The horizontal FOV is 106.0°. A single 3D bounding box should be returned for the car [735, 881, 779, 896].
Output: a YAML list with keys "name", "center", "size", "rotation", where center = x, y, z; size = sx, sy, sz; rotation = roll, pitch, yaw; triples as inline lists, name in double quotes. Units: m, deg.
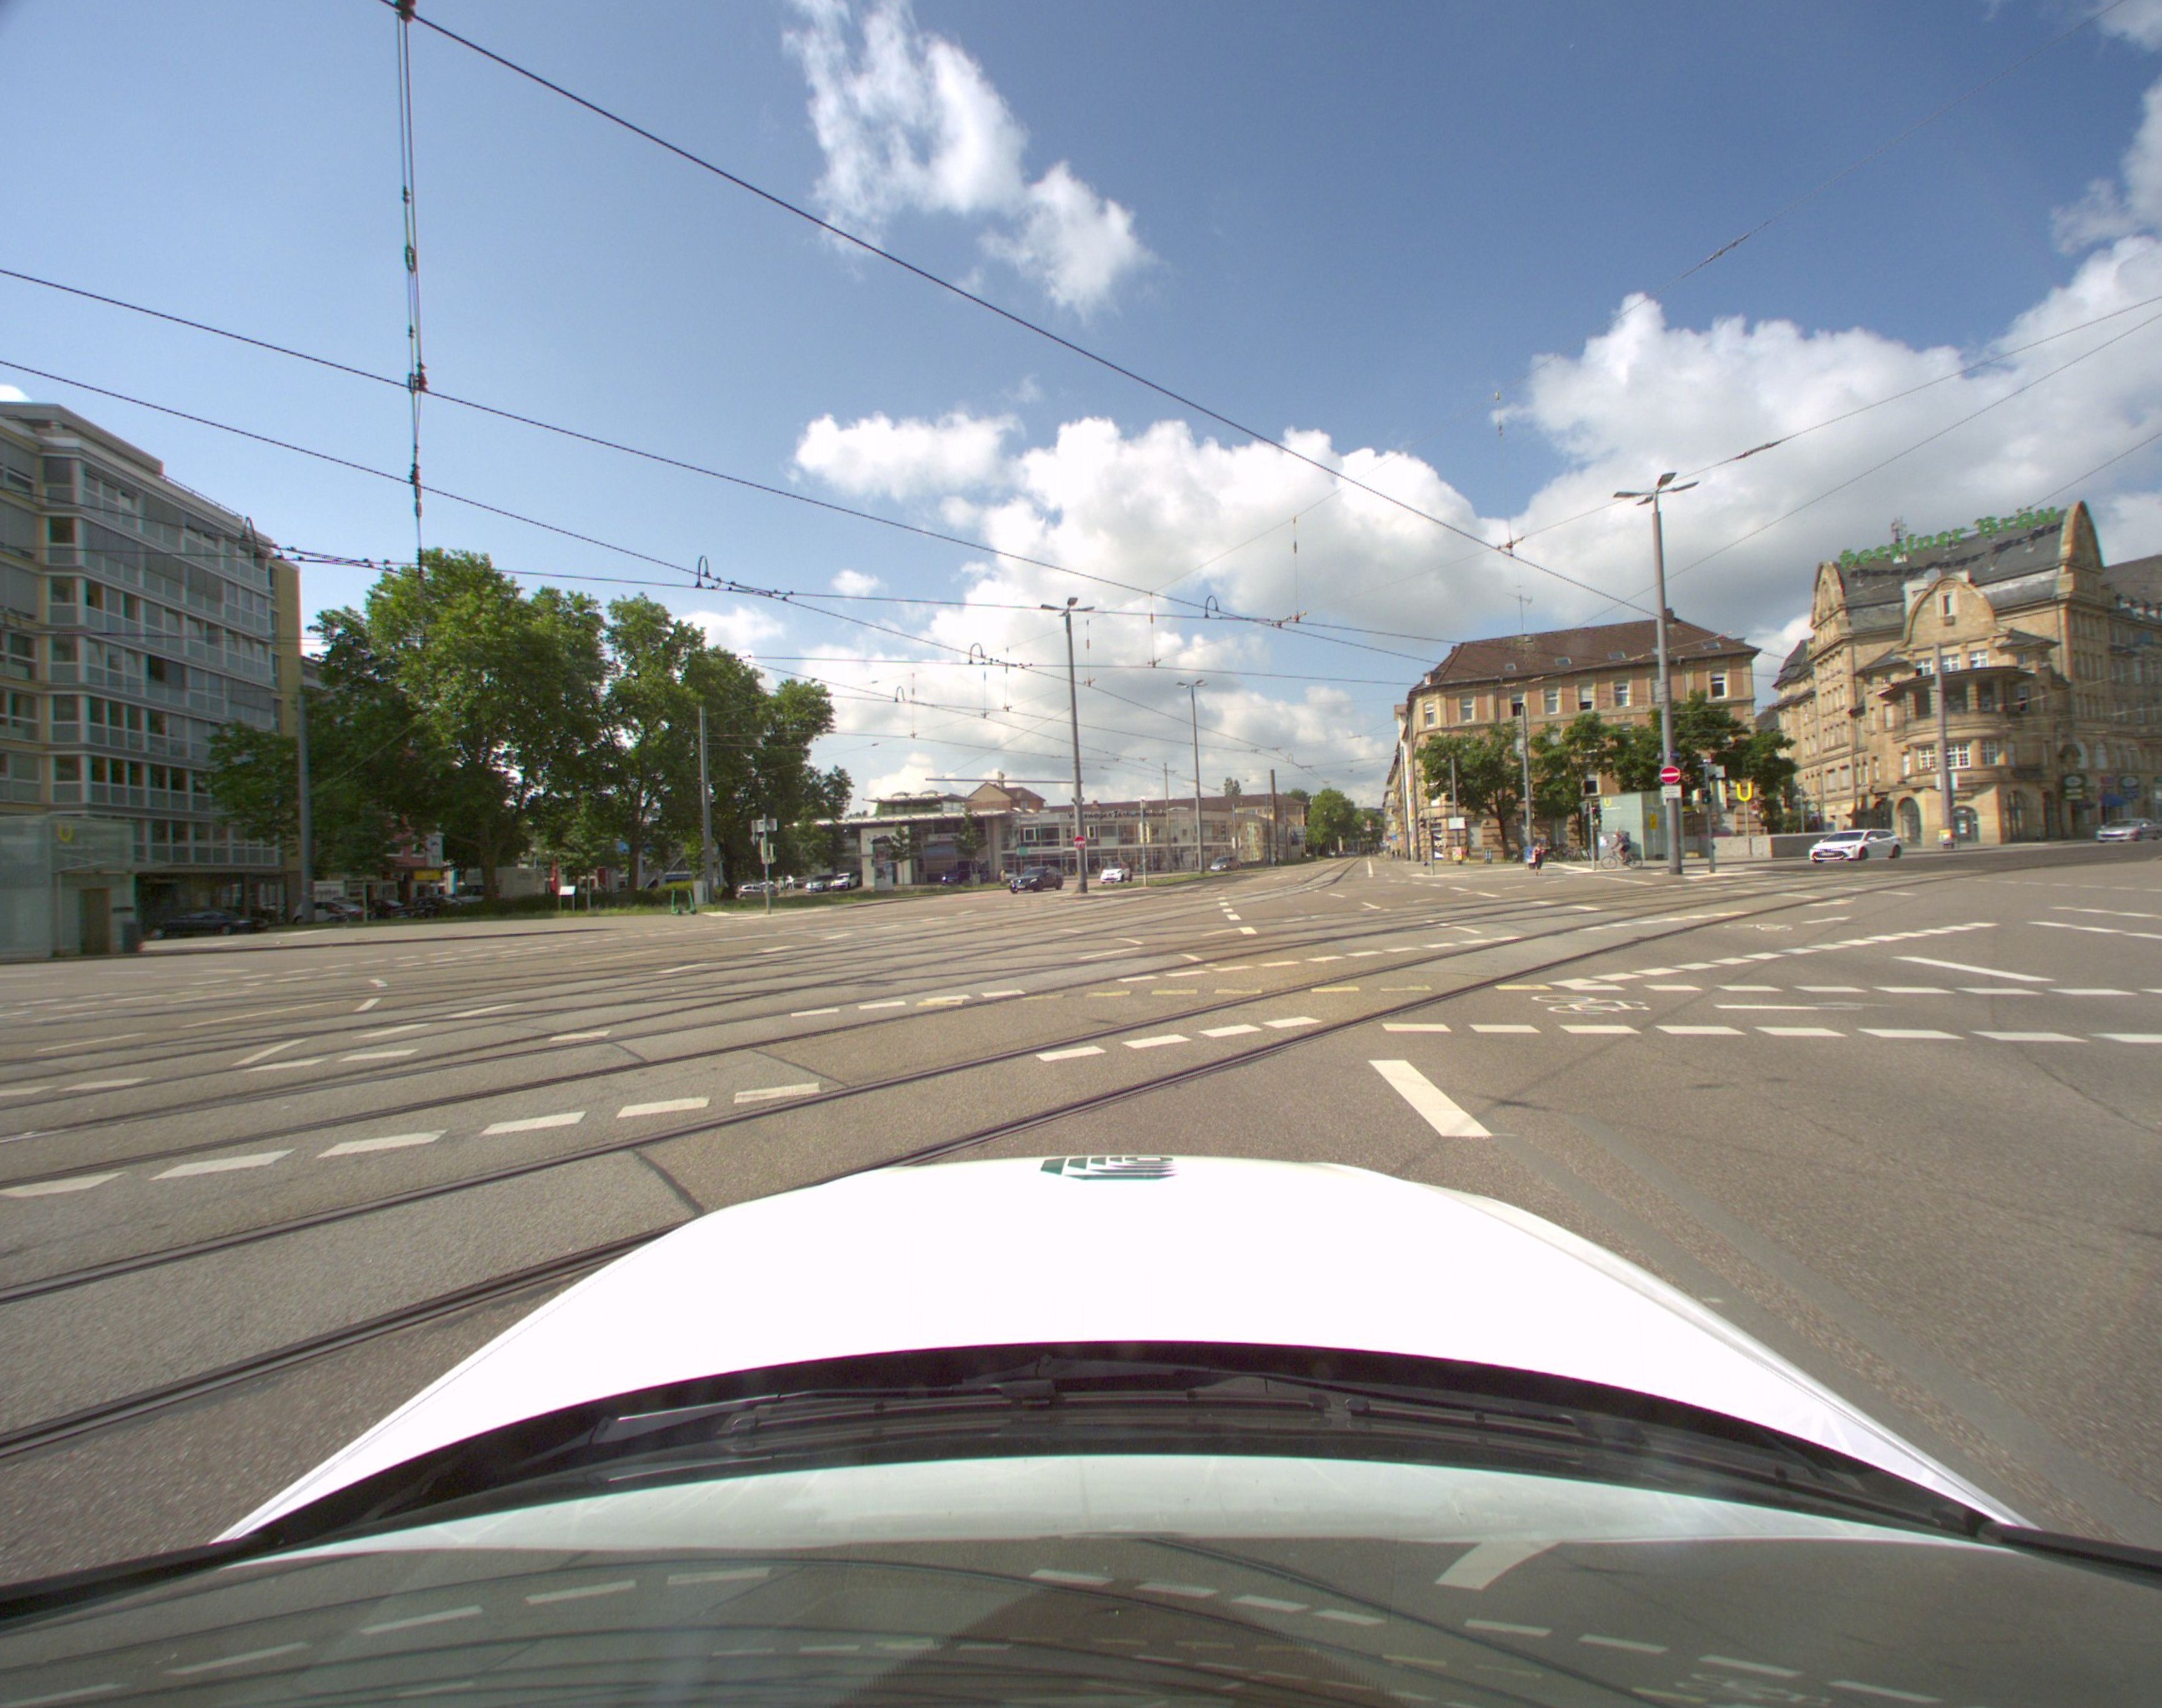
- name: "car"
  center: [-31.952, 3.408, 80.431]
  size: [3.653, 1.488, 1.675]
  rotation: [0, -1, 4]

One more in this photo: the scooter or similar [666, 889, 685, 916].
- name: "scooter or similar"
  center: [-18.256, 2.179, 36.684]
  size: [1.051, 1.197, 0.384]
  rotation: [-2, -2, 41]

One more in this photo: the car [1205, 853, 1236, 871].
- name: "car"
  center: [13.531, 0.731, 78.734]
  size: [1.975, 1.574, 3.758]
  rotation: [-3, -1, 25]

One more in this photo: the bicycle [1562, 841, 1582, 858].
- name: "bicycle"
  center: [35.361, -0.303, 58.679]
  size: [0.752, 1.166, 2.699]
  rotation: [-3, -1, 21]

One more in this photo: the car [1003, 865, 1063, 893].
- name: "car"
  center: [-2.727, 1.427, 47.251]
  size: [1.848, 1.376, 3.962]
  rotation: [-3, -1, 23]

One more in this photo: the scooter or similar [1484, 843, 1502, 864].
- name: "scooter or similar"
  center: [30.529, -0.060, 60.339]
  size: [0.870, 1.482, 2.024]
  rotation: [-3, -1, 20]

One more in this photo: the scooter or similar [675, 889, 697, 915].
- name: "scooter or similar"
  center: [-18.040, 2.186, 37.143]
  size: [1.051, 1.197, 0.384]
  rotation: [-2, -2, 31]

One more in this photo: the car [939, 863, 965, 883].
- name: "car"
  center: [-13.346, 1.982, 84.361]
  size: [1.987, 1.838, 3.999]
  rotation: [-3, -1, 0]

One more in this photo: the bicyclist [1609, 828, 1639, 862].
- name: "bicyclist"
  center: [27.685, -0.450, 41.524]
  size: [1.134, 1.675, 0.619]
  rotation: [-2, -2, 27]

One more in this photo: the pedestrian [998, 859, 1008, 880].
- name: "pedestrian"
  center: [-7.602, 1.530, 79.601]
  size: [0.804, 2.014, 0.809]
  rotation: [-3, -1, 3]

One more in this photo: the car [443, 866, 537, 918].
- name: "car"
  center: [-38.143, 2.403, 52.886]
  size: [1.995, 3.043, 7.220]
  rotation: [-3, -1, -11]

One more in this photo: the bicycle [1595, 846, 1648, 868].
- name: "bicycle"
  center: [27.576, 0.148, 41.562]
  size: [2.169, 1.070, 0.883]
  rotation: [-2, -2, 30]

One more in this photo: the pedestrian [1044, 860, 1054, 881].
- name: "pedestrian"
  center: [-3.226, 1.674, 82.390]
  size: [0.867, 2.014, 0.702]
  rotation: [-3, -1, -4]

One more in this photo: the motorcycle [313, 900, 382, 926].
- name: "motorcycle"
  center: [-35.414, 2.848, 39.322]
  size: [0.962, 1.030, 2.309]
  rotation: [-5, -2, 37]

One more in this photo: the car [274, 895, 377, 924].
- name: "car"
  center: [-44.537, 3.276, 48.095]
  size: [4.087, 1.514, 1.800]
  rotation: [-1, -1, -14]

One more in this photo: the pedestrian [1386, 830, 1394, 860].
- name: "pedestrian"
  center: [32.648, -0.976, 86.050]
  size: [0.659, 3.121, 0.893]
  rotation: [-2, -2, 29]

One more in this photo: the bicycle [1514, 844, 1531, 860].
- name: "bicycle"
  center: [32.381, -0.151, 59.785]
  size: [0.752, 1.166, 2.699]
  rotation: [-3, -1, 21]

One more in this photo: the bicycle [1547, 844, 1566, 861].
- name: "bicycle"
  center: [34.461, -0.088, 59.035]
  size: [0.752, 1.166, 2.699]
  rotation: [-2, -2, 22]

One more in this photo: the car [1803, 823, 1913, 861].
- name: "car"
  center: [35.154, -0.534, 36.842]
  size: [4.510, 1.596, 1.942]
  rotation: [0, -2, -23]

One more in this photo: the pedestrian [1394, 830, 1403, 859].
- name: "pedestrian"
  center: [33.379, -0.998, 85.646]
  size: [0.718, 3.076, 0.893]
  rotation: [-2, -2, 29]

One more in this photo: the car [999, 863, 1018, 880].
- name: "car"
  center: [-7.532, 1.867, 85.335]
  size: [1.925, 1.684, 3.993]
  rotation: [-1, -1, -5]

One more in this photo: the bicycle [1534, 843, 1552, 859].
- name: "bicycle"
  center: [33.581, -0.212, 59.260]
  size: [0.752, 1.165, 2.699]
  rotation: [-2, 0, 22]

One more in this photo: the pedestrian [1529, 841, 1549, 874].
- name: "pedestrian"
  center: [22.011, 0.169, 39.130]
  size: [0.733, 1.516, 0.548]
  rotation: [-3, -1, 27]

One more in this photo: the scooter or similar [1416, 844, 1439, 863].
- name: "scooter or similar"
  center: [26.465, 0.002, 62.297]
  size: [1.168, 1.386, 2.814]
  rotation: [-1, -1, 14]

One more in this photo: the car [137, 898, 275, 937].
- name: "car"
  center: [-41.453, 2.991, 38.692]
  size: [4.087, 1.514, 1.800]
  rotation: [-3, -1, -14]

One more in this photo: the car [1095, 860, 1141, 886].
- name: "car"
  center: [2.815, 1.400, 60.999]
  size: [1.975, 1.838, 4.023]
  rotation: [-2, -2, 25]

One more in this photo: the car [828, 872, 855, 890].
- name: "car"
  center: [-25.222, 2.800, 85.860]
  size: [1.782, 1.682, 3.994]
  rotation: [-3, -1, -4]

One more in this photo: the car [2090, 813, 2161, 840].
- name: "car"
  center: [67.177, -1.749, 52.041]
  size: [3.993, 1.596, 1.830]
  rotation: [-1, -2, -14]

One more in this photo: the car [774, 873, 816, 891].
- name: "car"
  center: [-32.510, 3.164, 92.502]
  size: [3.963, 2.014, 2.005]
  rotation: [-1, -2, 9]

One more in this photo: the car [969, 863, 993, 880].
- name: "car"
  center: [-10.233, 1.801, 83.627]
  size: [1.988, 1.726, 3.997]
  rotation: [-1, -1, -1]

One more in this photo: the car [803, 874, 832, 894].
- name: "car"
  center: [-27.700, 3.118, 85.700]
  size: [1.990, 2.014, 3.994]
  rotation: [0, -1, -4]

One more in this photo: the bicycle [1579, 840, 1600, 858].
- name: "bicycle"
  center: [36.431, -0.358, 58.353]
  size: [0.752, 1.166, 2.699]
  rotation: [-3, -1, 21]
